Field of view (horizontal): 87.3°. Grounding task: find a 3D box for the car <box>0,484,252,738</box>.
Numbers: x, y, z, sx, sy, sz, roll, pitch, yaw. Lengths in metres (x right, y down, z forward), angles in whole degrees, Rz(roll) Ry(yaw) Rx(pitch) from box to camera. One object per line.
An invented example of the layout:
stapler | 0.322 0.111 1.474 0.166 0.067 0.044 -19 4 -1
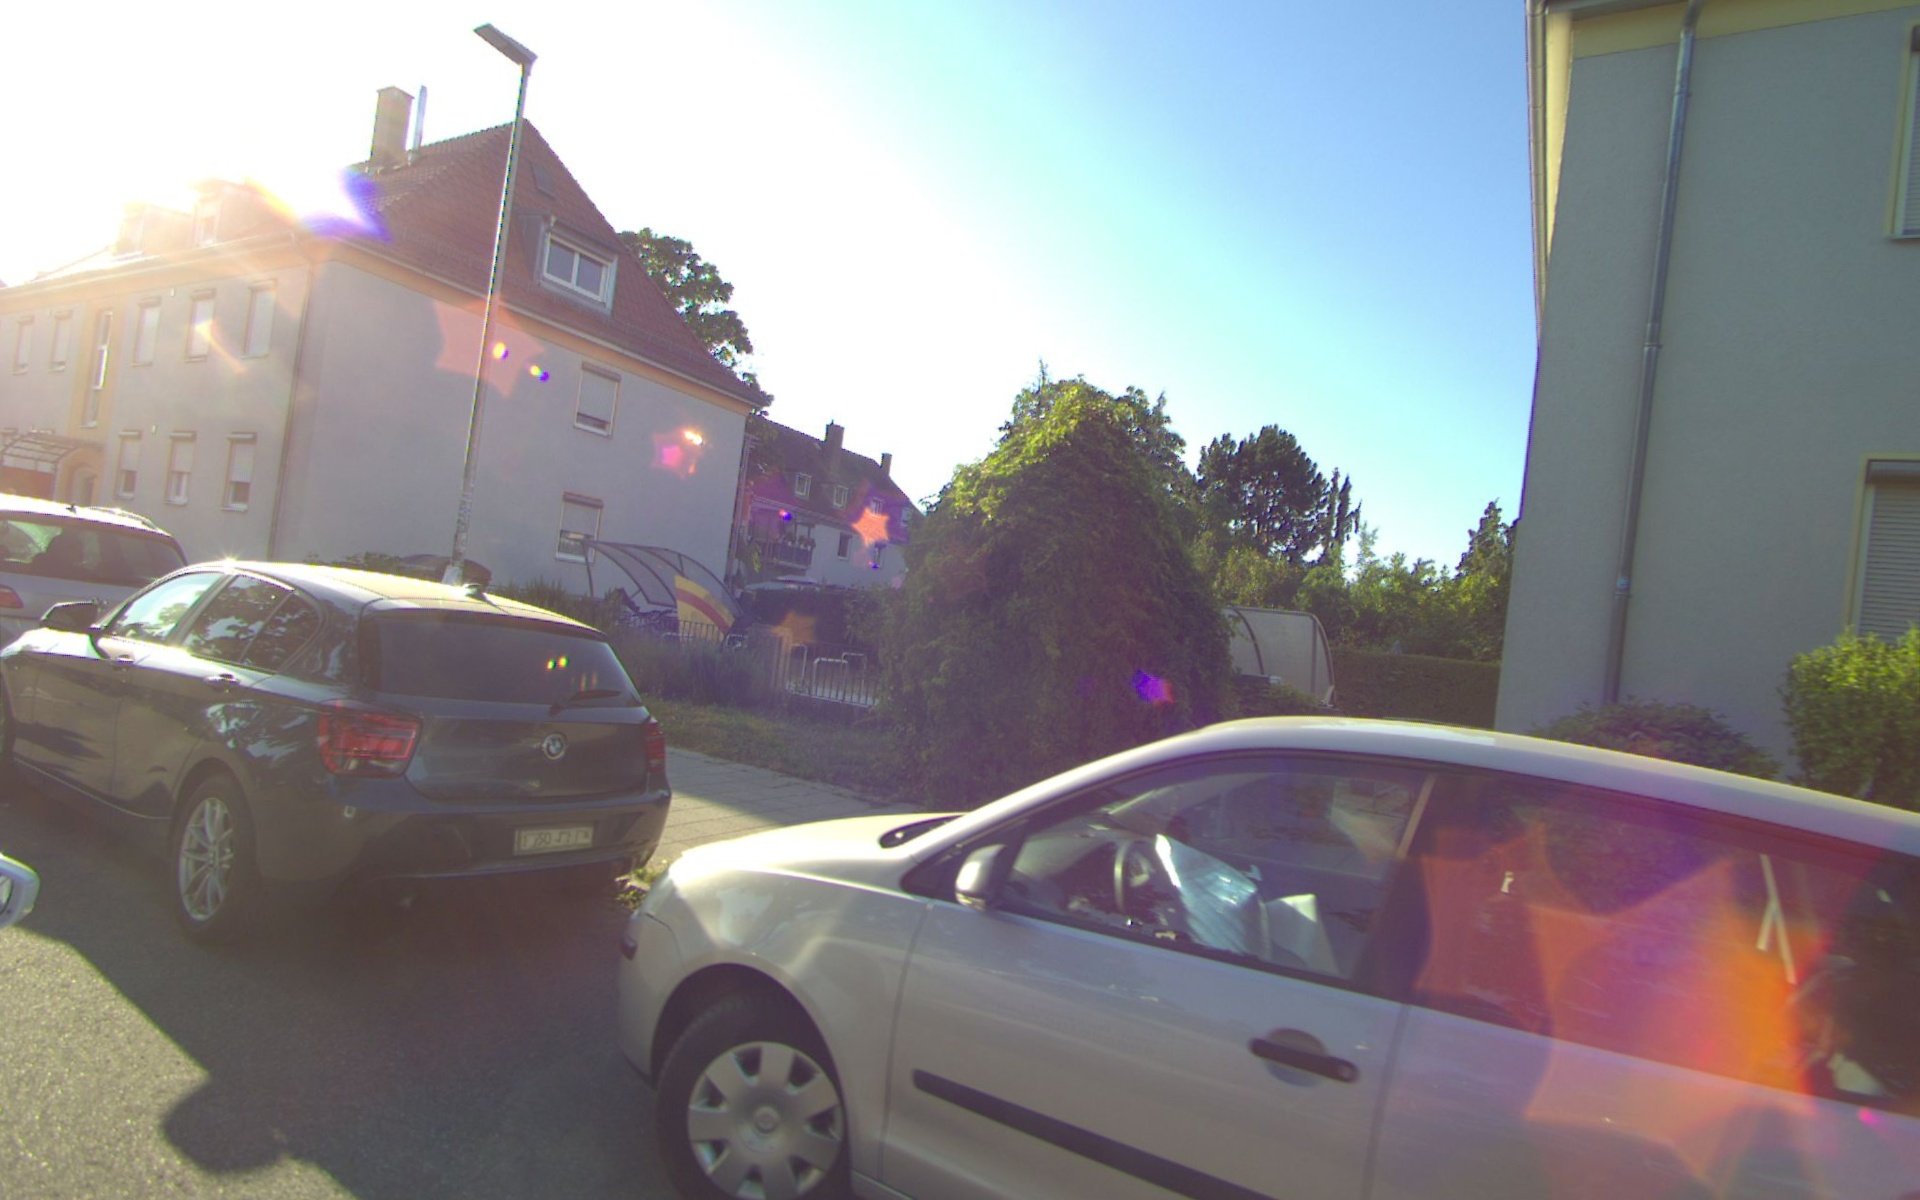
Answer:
car | -7.661 -0.080 7.775 4.341 1.578 1.730 6 -3 29

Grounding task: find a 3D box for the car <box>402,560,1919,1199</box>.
car | 0.761 0.980 2.568 4.137 1.562 1.736 6 -7 30

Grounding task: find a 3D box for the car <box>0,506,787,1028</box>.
car | -3.316 0.510 5.186 4.488 1.478 1.998 6 -4 33
